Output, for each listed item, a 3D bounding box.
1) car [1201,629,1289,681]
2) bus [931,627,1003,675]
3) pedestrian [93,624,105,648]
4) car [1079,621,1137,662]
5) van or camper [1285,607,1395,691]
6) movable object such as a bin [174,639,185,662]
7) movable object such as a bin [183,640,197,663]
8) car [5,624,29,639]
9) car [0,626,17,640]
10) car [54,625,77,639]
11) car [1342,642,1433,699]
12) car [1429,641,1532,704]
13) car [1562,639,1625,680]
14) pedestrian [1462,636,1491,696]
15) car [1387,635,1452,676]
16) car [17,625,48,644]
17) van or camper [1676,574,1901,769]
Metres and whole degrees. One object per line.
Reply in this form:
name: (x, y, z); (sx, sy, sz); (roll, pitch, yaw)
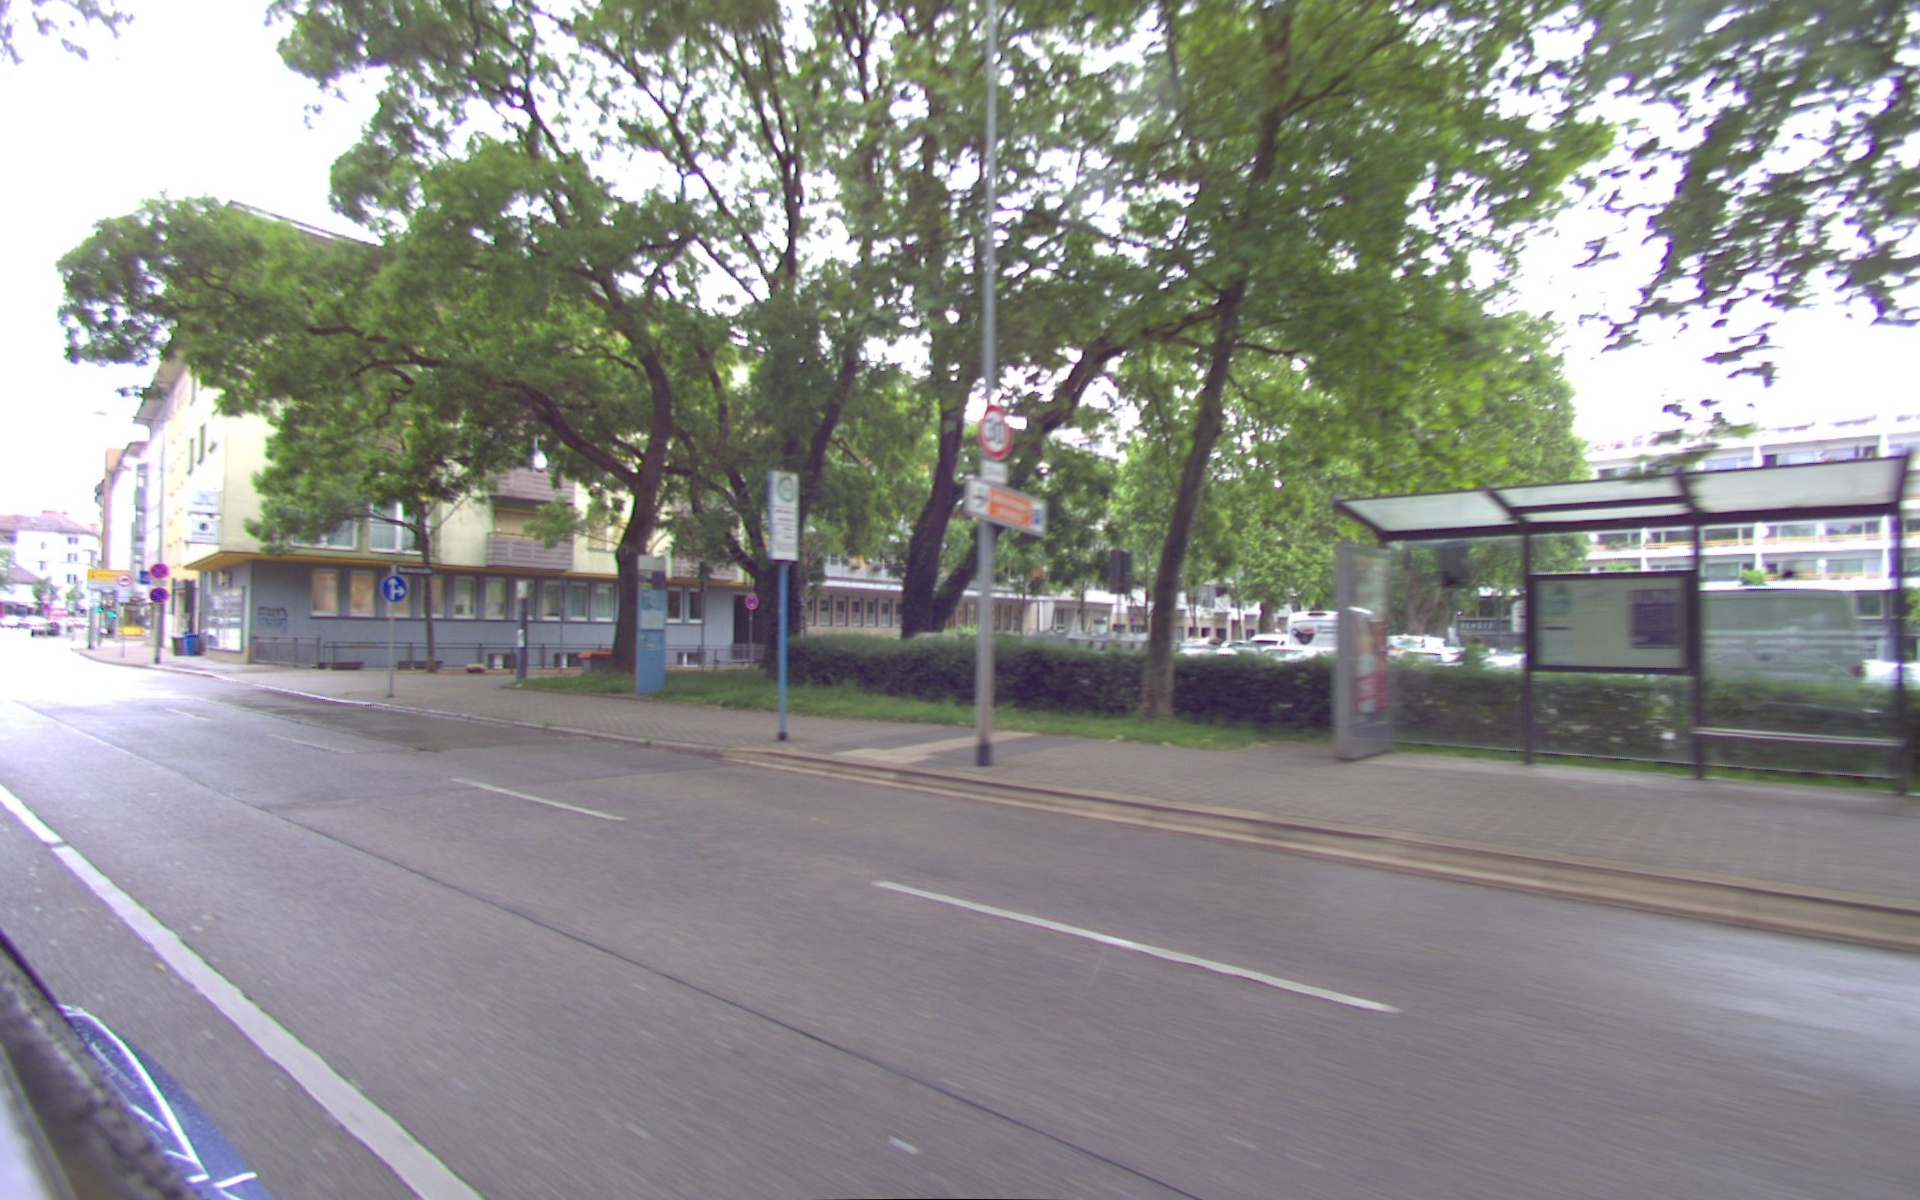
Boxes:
car: (10.201, 1.966, 36.086); (1.739, 1.739, 3.950); (-1, -3, 37)
bus: (0.357, 2.146, 42.561); (1.703, 1.939, 3.698); (0, -3, 23)
pedestrian: (-66.893, 2.769, 78.601); (0.586, 1.858, 0.565); (4, -4, -42)
car: (7.701, 2.173, 52.364); (1.988, 2.029, 3.968); (0, -3, 24)
van or camper: (12.458, 1.595, 33.004); (2.096, 2.556, 4.368); (-1, -3, 39)
movable object such as a bin: (-34.745, 2.240, 45.041); (0.333, 1.037, 0.354); (4, -4, -42)
movable object such as a bin: (-34.452, 2.292, 45.292); (0.409, 1.037, 0.354); (4, -4, -42)
car: (-119.920, 4.004, 128.741); (4.001, 1.866, 1.971); (-2, -4, 44)
car: (-117.074, 4.063, 123.991); (4.001, 1.653, 1.971); (-2, -4, 44)
car: (-116.282, 4.152, 131.581); (4.001, 1.670, 1.842); (-2, -4, 44)
car: (11.705, 1.898, 27.637); (1.391, 1.446, 3.227); (-1, -4, 41)
car: (13.357, 1.821, 25.885); (1.727, 1.474, 3.799); (-1, -3, 37)
car: (23.607, 2.198, 37.679); (1.604, 1.439, 3.275); (-1, -3, 39)
pedestrian: (10.853, 1.376, 21.252); (0.484, 1.222, 0.433); (-1, 0, 34)
car: (20.873, 2.525, 45.929); (1.815, 1.787, 3.884); (-1, -3, 38)
car: (-87.423, 3.288, 95.339); (4.001, 1.730, 1.863); (-2, -4, 44)
van or camper: (11.148, 0.911, 13.809); (2.045, 2.186, 4.439); (-1, -3, 38)
